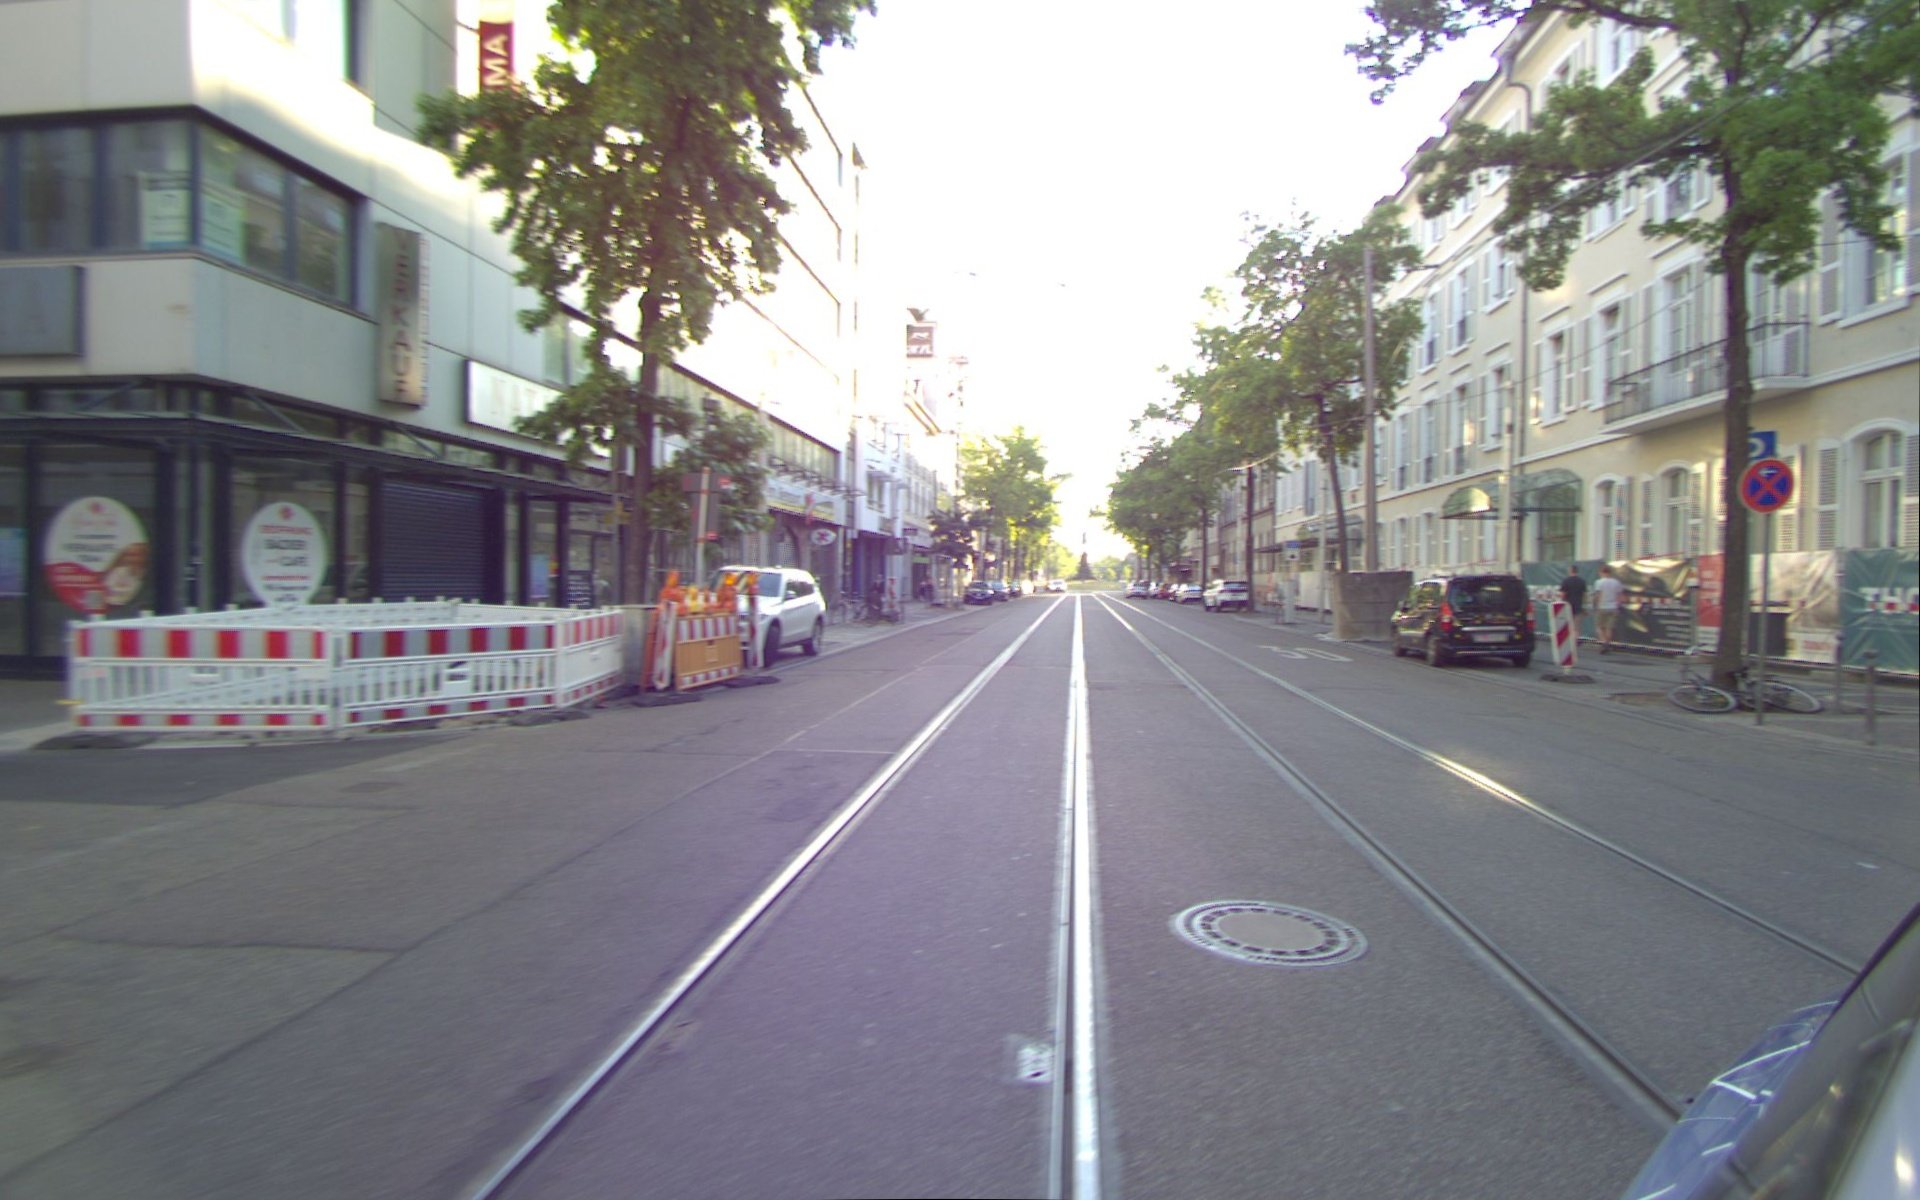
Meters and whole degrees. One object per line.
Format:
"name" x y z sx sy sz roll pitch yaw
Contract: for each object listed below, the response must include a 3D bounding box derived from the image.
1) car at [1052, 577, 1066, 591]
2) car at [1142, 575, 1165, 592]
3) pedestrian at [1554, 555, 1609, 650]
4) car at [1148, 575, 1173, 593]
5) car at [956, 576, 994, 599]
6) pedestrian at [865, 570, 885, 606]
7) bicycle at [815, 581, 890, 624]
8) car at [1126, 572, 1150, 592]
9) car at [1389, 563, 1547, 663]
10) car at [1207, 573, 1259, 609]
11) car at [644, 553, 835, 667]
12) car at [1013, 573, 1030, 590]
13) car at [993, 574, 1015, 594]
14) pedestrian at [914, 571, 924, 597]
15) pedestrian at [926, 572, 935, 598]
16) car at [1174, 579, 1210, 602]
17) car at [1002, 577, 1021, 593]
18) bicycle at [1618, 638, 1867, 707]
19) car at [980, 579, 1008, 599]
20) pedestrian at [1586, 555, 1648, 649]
"car" 12.589 -2.020 128.690 1.709 1.759 4.099 0 1 6
"car" 18.517 -1.601 96.774 1.967 1.568 4.096 0 1 8
"pedestrian" 12.919 0.039 21.054 0.668 1.908 0.768 -2 1 8
"car" 17.943 -1.464 90.816 1.967 1.596 4.096 0 1 8
"car" 0.958 -0.807 63.670 1.969 1.379 4.099 2 2 6
"pedestrian" -3.773 -0.557 45.074 0.718 1.577 0.837 1 2 9
"bicycle" -3.275 0.061 30.906 2.134 1.173 0.758 3 2 13
"car" 16.251 -1.681 92.489 1.967 1.759 4.096 0 1 8
"car" 10.183 0.204 20.599 1.745 1.787 3.867 -2 1 10
"car" 14.080 -0.497 52.466 1.965 1.759 4.099 0 1 6
"car" -3.964 0.111 19.115 1.967 1.793 4.659 3 1 8
"car" 6.817 -2.042 111.341 1.709 1.759 4.099 0 1 6
"car" 3.969 -1.429 90.363 1.869 1.713 4.101 0 1 4
"pedestrian" -2.500 -0.965 61.664 0.469 1.566 0.747 0 2 7
"pedestrian" -1.798 -0.925 61.894 0.469 1.575 0.747 1 2 7
"car" 16.148 -0.682 70.513 1.965 1.522 4.099 0 1 6
"car" 4.914 -1.418 95.720 1.657 1.498 3.842 0 1 5
"bicycle" 9.642 0.881 12.575 2.038 0.715 1.331 -1 1 1
"car" 2.497 -0.847 73.148 1.709 1.335 4.100 2 2 5
"pedestrian" 13.688 0.029 21.108 0.747 1.908 0.878 -2 1 8
